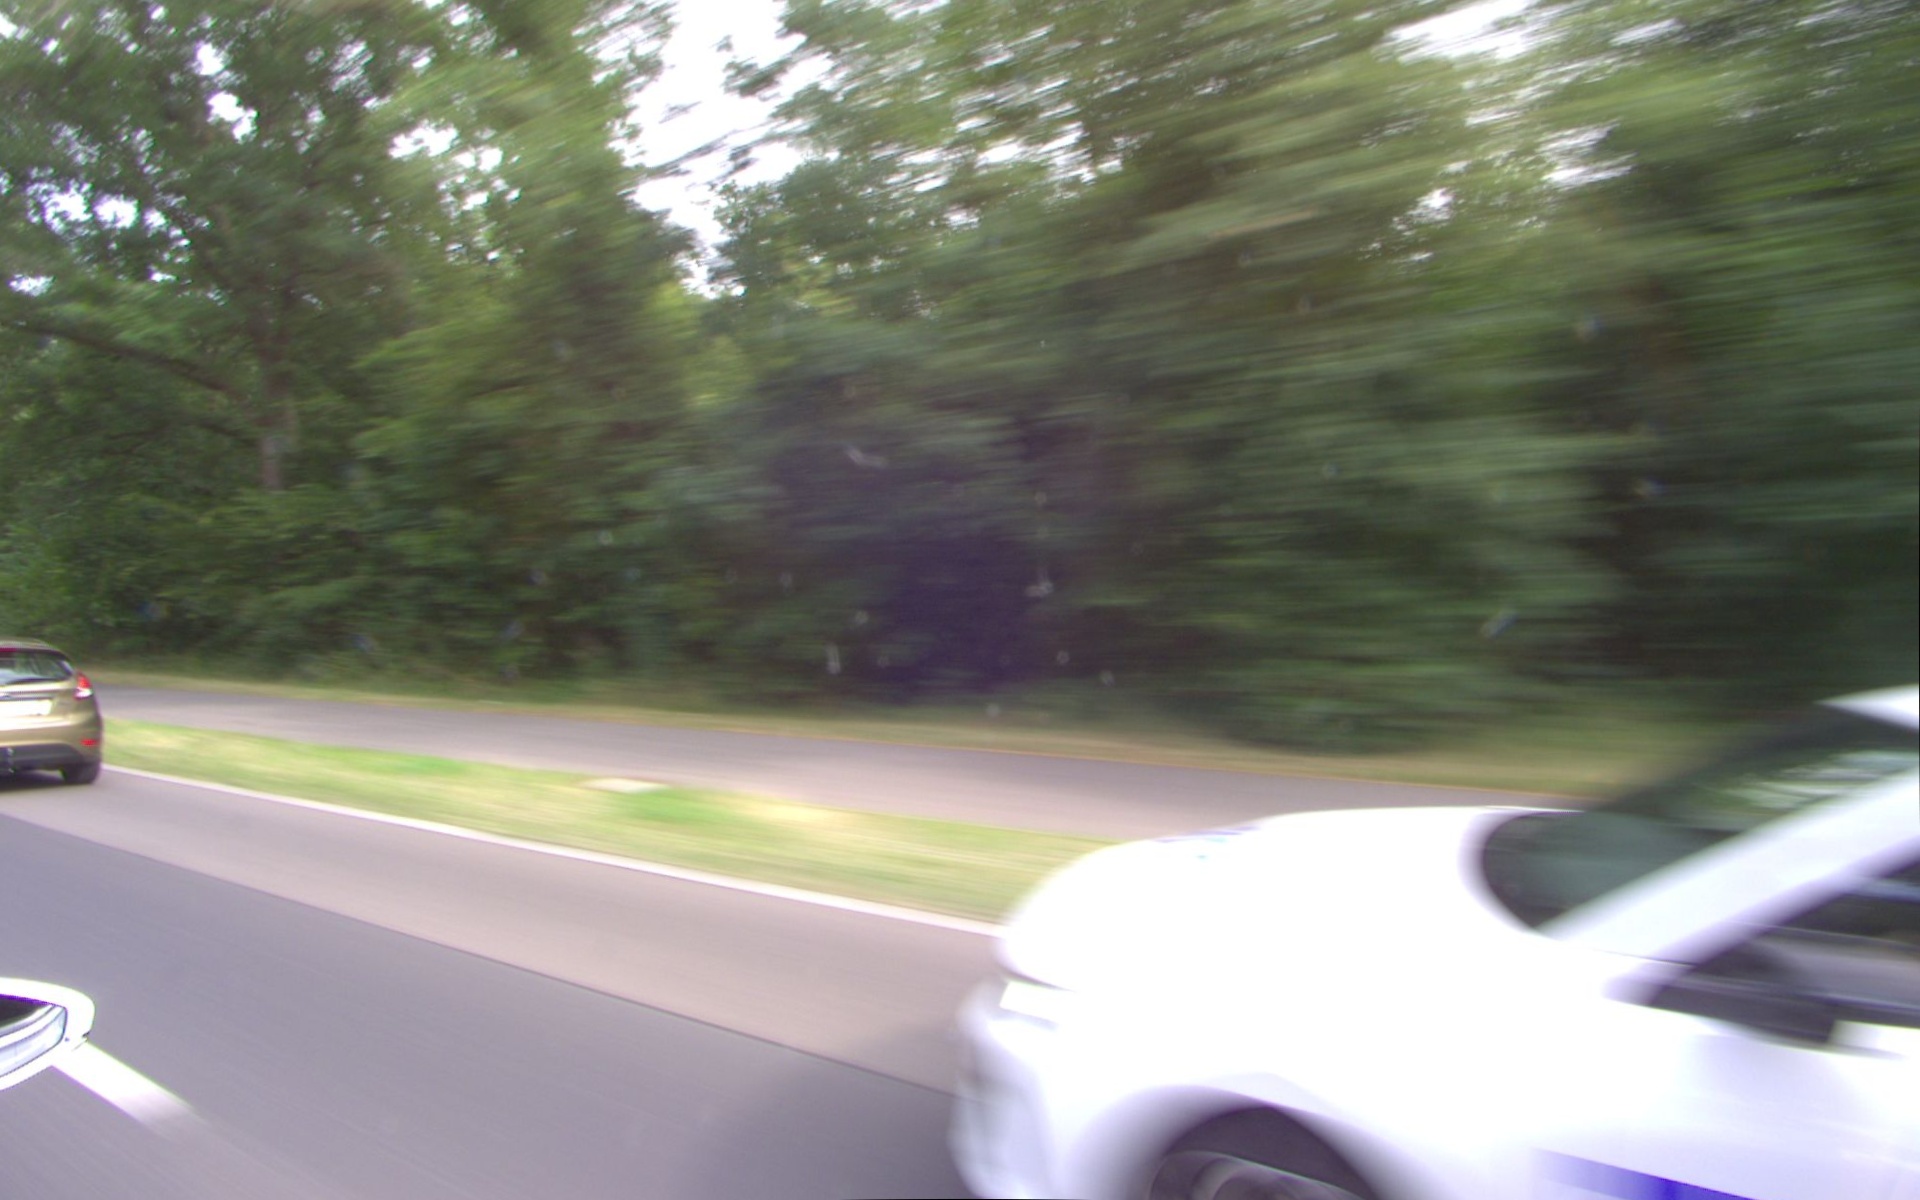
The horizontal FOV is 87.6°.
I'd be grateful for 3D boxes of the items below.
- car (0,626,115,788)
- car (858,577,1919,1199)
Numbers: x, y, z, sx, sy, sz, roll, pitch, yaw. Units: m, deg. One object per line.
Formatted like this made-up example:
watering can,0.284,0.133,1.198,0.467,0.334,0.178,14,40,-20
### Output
car,-10.162,1.003,9.930,3.944,1.437,1.633,-2,-3,33
car,2.161,0.731,1.786,4.423,1.428,1.835,1,-2,30
